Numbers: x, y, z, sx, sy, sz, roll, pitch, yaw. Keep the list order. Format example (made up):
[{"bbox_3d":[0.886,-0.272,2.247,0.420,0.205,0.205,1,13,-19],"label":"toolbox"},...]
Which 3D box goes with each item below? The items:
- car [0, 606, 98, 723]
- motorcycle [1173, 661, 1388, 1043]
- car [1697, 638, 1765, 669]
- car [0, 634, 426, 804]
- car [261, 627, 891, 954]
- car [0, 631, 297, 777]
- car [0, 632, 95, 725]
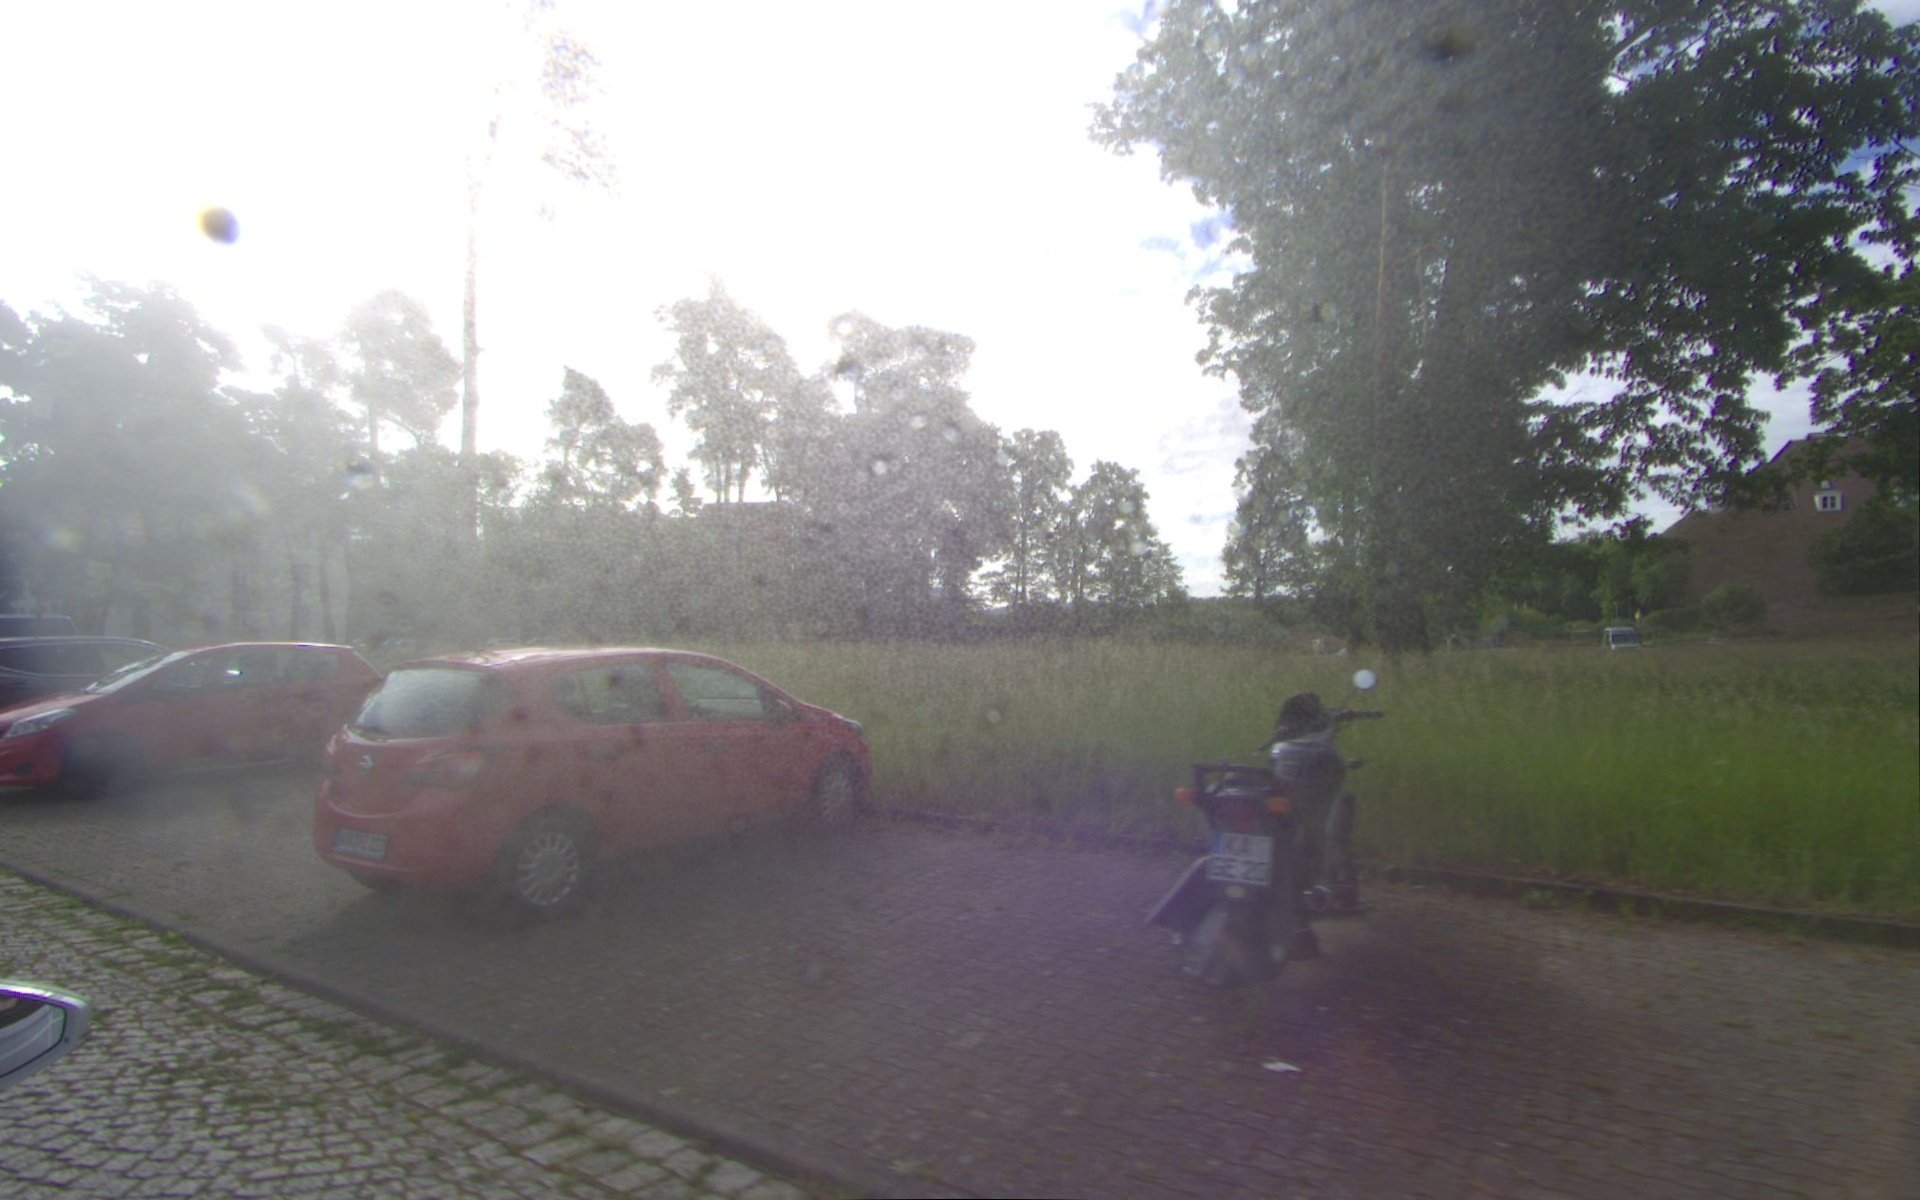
[{"bbox_3d":[-18.110,1.109,17.160,1.712,2.066,4.777,0,-2,30],"label":"car"},{"bbox_3d":[1.611,0.974,4.749,0.596,1.291,2.263,0,-1,27],"label":"motorcycle"},{"bbox_3d":[53.245,3.683,69.282,2.447,2.038,5.822,-1,-3,25],"label":"car"},{"bbox_3d":[-8.420,1.154,11.231,1.713,1.538,3.980,-1,-2,32],"label":"car"},{"bbox_3d":[-2.281,0.974,6.916,1.713,1.525,3.833,0,-1,31],"label":"car"},{"bbox_3d":[-10.769,1.190,12.372,1.736,1.600,3.945,-1,-2,31],"label":"car"},{"bbox_3d":[-16.195,1.256,15.656,1.630,1.442,3.717,-1,-1,30],"label":"car"}]
